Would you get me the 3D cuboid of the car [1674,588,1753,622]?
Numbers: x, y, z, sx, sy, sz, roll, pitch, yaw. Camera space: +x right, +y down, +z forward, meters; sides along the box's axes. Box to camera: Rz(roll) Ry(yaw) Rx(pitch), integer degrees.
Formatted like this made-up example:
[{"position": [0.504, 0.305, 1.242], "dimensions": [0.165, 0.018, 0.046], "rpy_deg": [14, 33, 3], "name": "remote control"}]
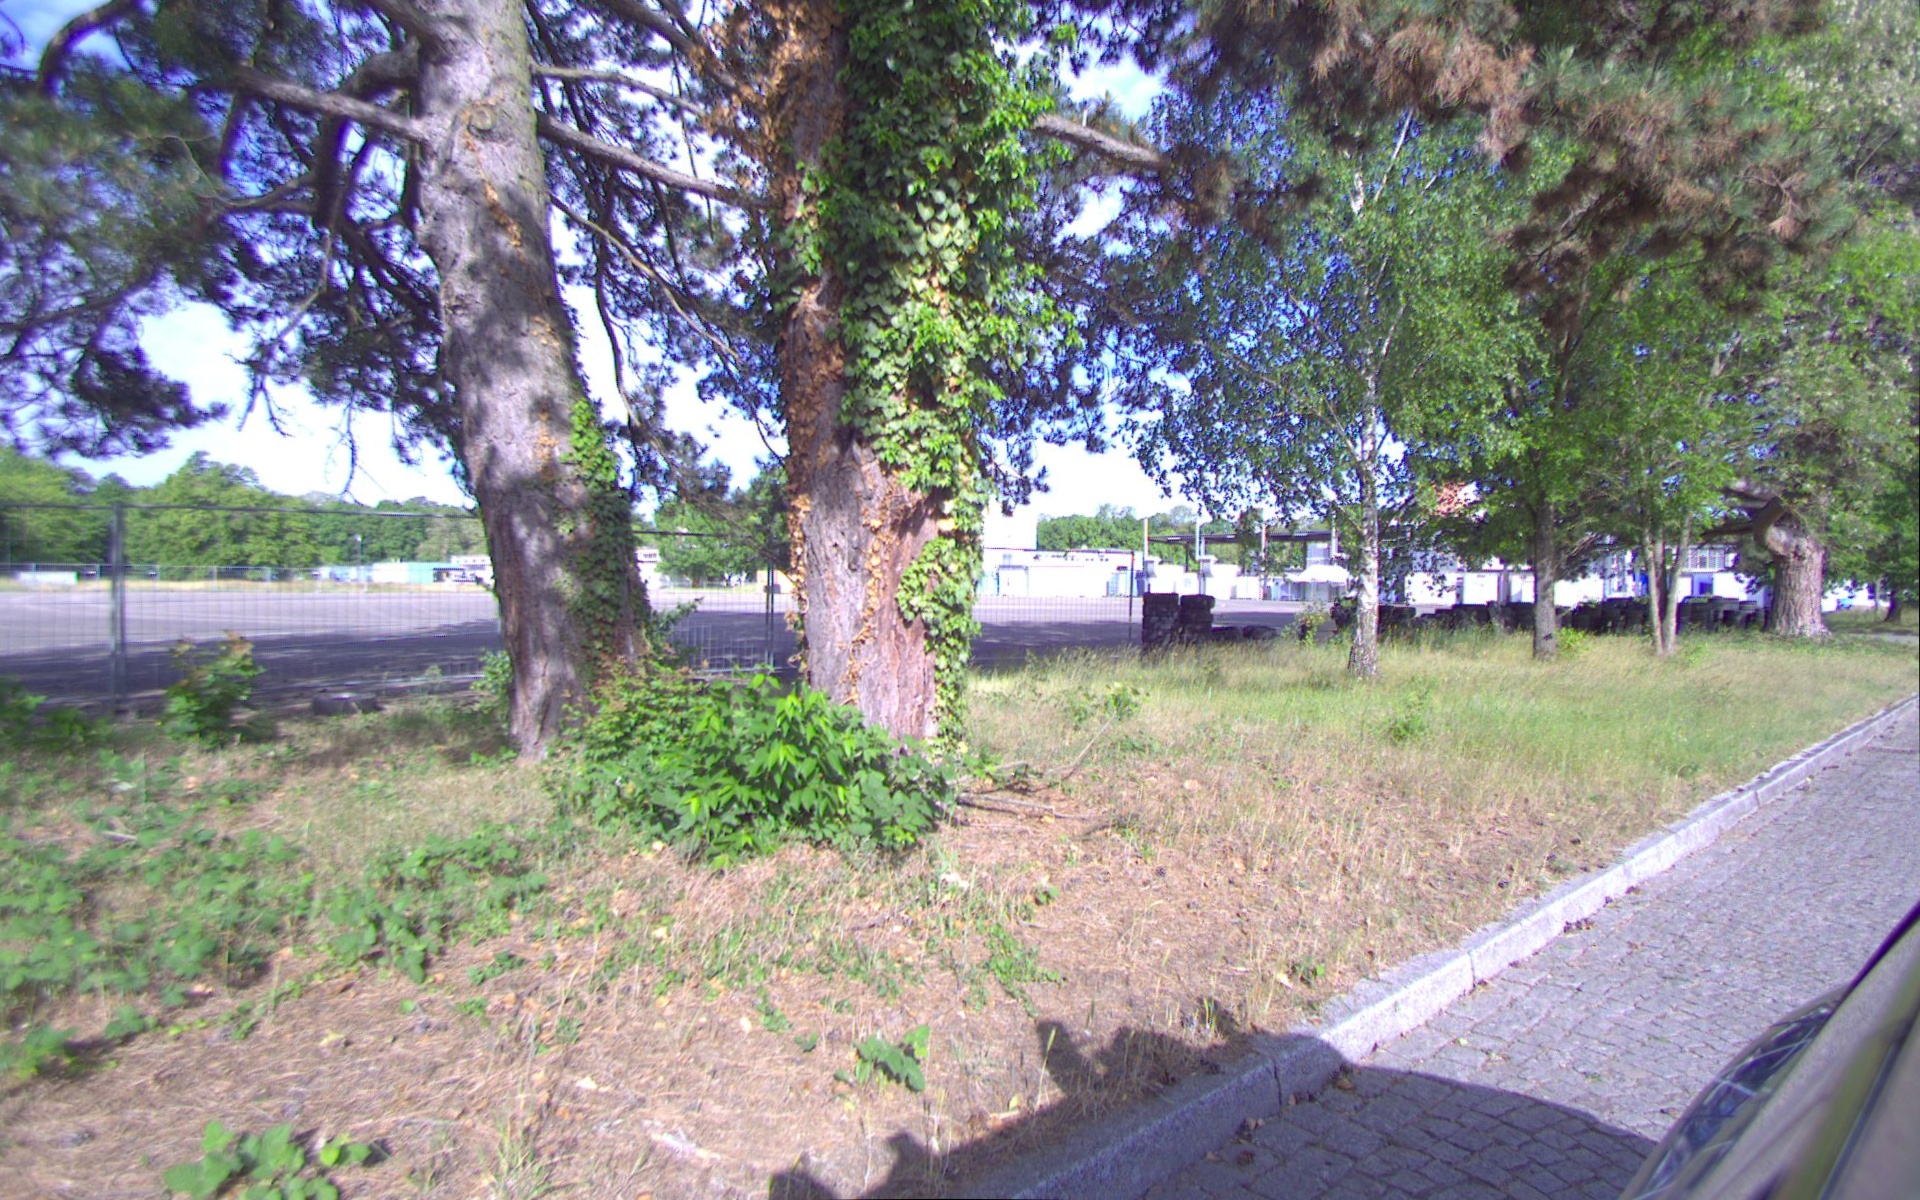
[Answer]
[{"position": [35.031, 0.208, 47.027], "dimensions": [3.924, 1.467, 1.848], "rpy_deg": [0, 1, -36], "name": "car"}]
